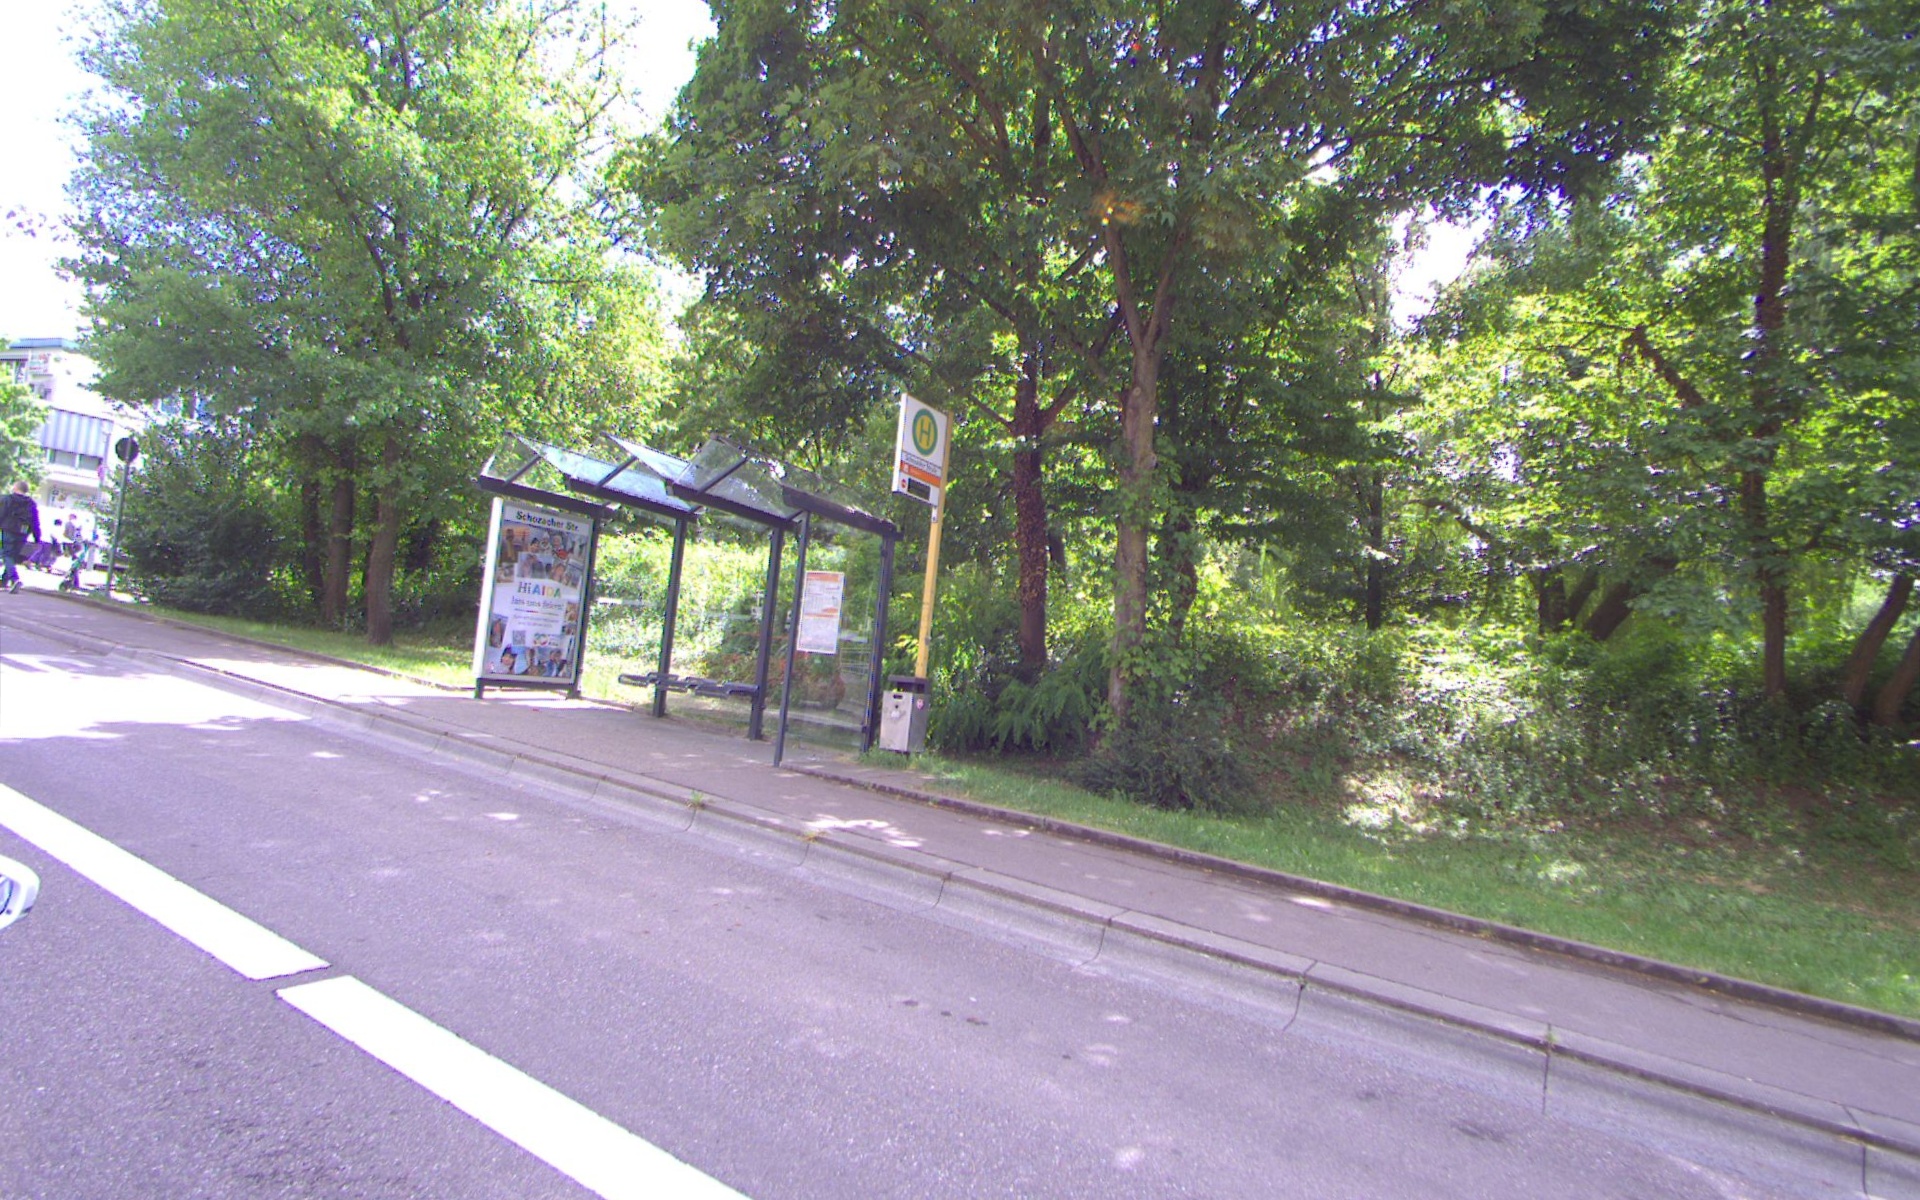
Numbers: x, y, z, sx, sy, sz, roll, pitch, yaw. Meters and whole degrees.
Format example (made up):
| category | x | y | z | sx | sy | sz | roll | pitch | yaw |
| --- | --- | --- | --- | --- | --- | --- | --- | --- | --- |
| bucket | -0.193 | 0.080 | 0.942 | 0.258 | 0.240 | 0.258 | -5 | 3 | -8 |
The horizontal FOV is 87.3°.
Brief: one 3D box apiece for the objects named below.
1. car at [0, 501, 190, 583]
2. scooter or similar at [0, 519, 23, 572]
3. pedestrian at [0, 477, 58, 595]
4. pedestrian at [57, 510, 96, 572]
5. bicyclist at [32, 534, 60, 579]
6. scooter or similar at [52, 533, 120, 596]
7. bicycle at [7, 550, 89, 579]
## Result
| category | x | y | z | sx | sy | sz | roll | pitch | yaw |
| --- | --- | --- | --- | --- | --- | --- | --- | --- | --- |
| car | -28.953 | -1.882 | 33.232 | 1.963 | 1.914 | 5.192 | 7 | -3 | 21 |
| scooter or similar | -24.927 | -1.468 | 25.738 | 0.546 | 1.286 | 1.153 | 6 | -3 | 34 |
| pedestrian | -16.247 | -1.105 | 17.207 | 0.997 | 1.898 | 0.796 | 6 | -1 | 32 |
| pedestrian | -26.350 | -1.746 | 30.014 | 0.653 | 1.733 | 0.457 | 8 | -1 | -36 |
| bicyclist | -24.834 | -1.176 | 27.339 | 0.396 | 1.170 | 0.498 | 7 | -1 | -37 |
| scooter or similar | -20.257 | -0.816 | 23.326 | 0.447 | 1.242 | 0.893 | 6 | -6 | 32 |
| bicycle | -24.815 | -0.973 | 27.400 | 1.577 | 0.617 | 0.529 | 6 | 0 | -38 |
